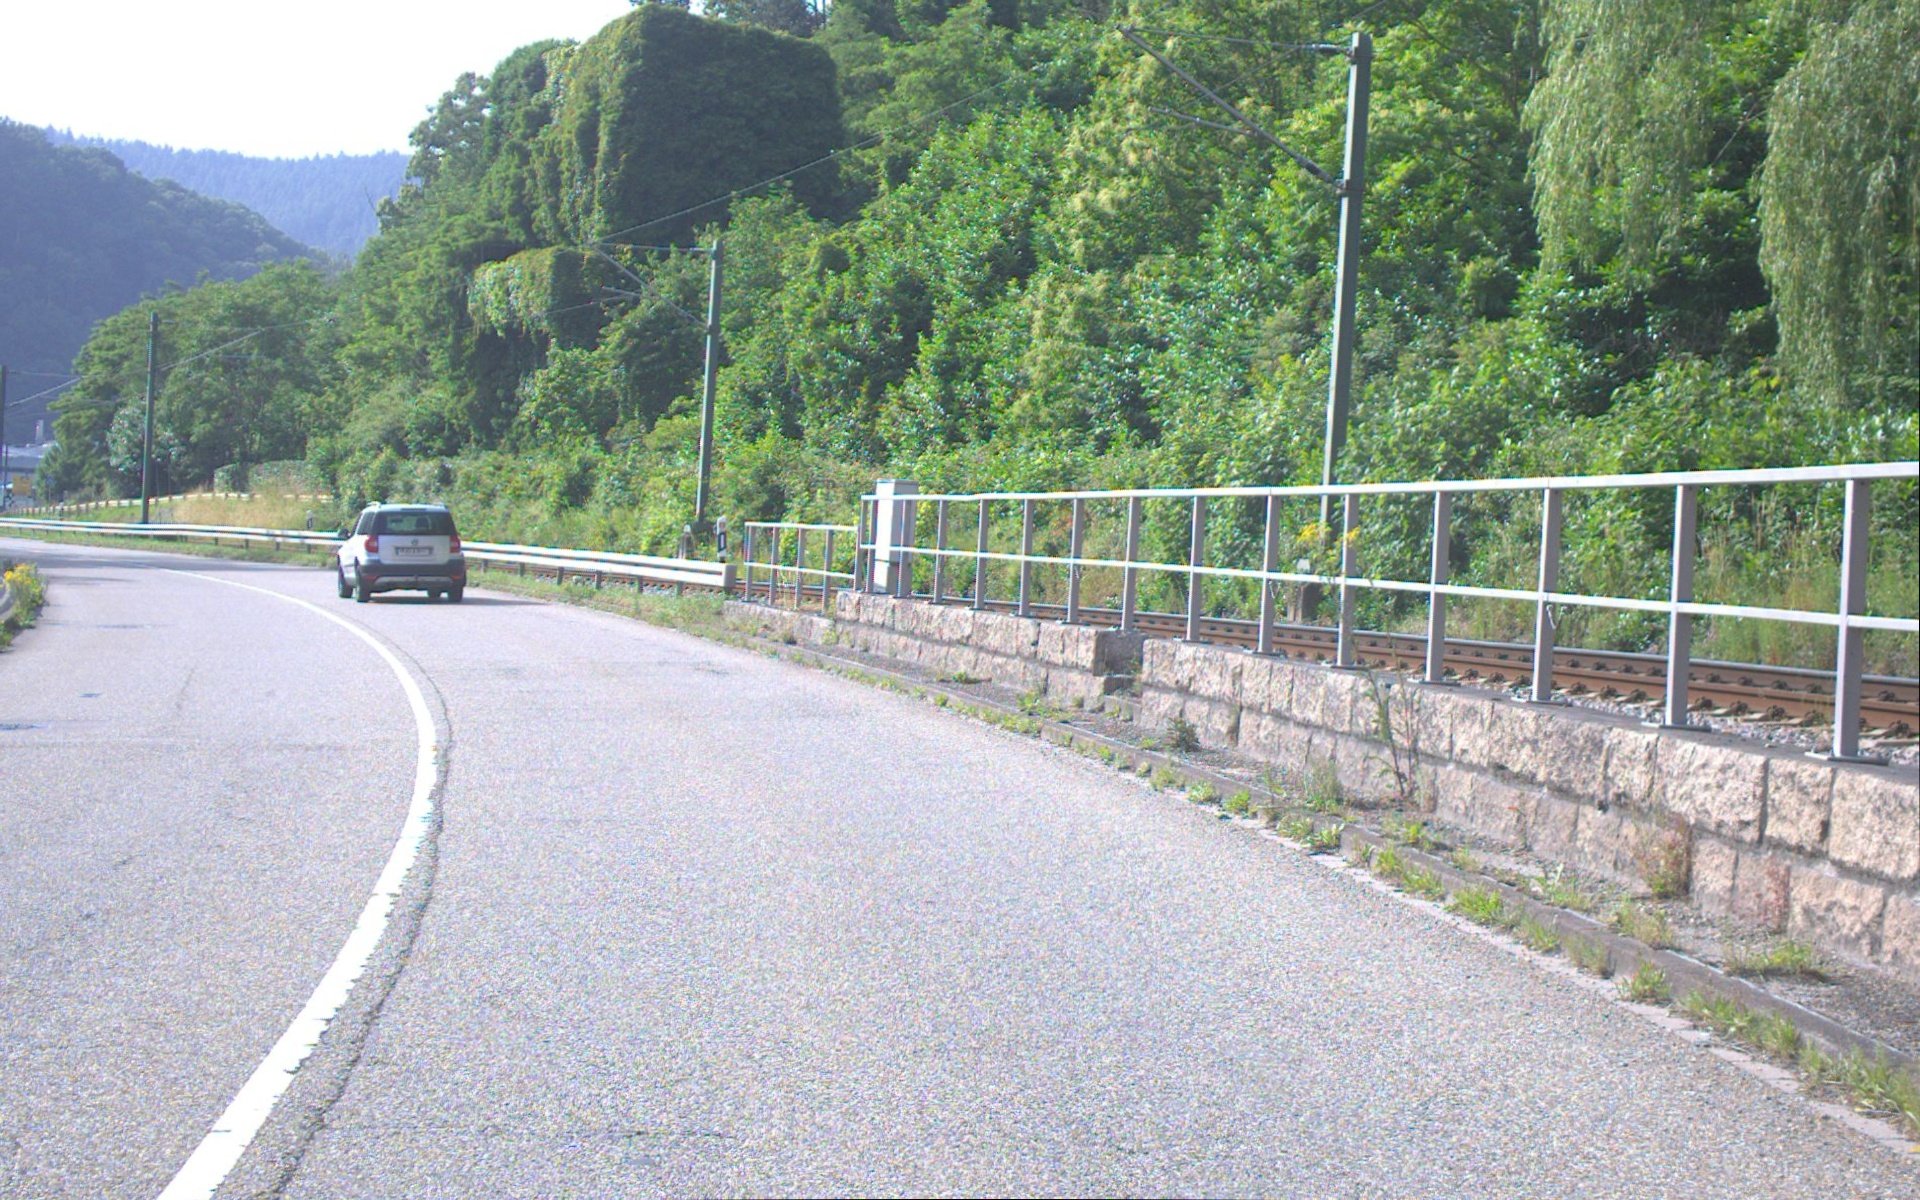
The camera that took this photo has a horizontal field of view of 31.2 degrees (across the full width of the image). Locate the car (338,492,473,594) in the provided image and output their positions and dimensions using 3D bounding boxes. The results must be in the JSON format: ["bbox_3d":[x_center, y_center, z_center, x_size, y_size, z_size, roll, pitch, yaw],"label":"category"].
[{"bbox_3d":[-9.435,-0.986,58.283,1.872,1.650,4.001,0,1,-14],"label":"car"}]
